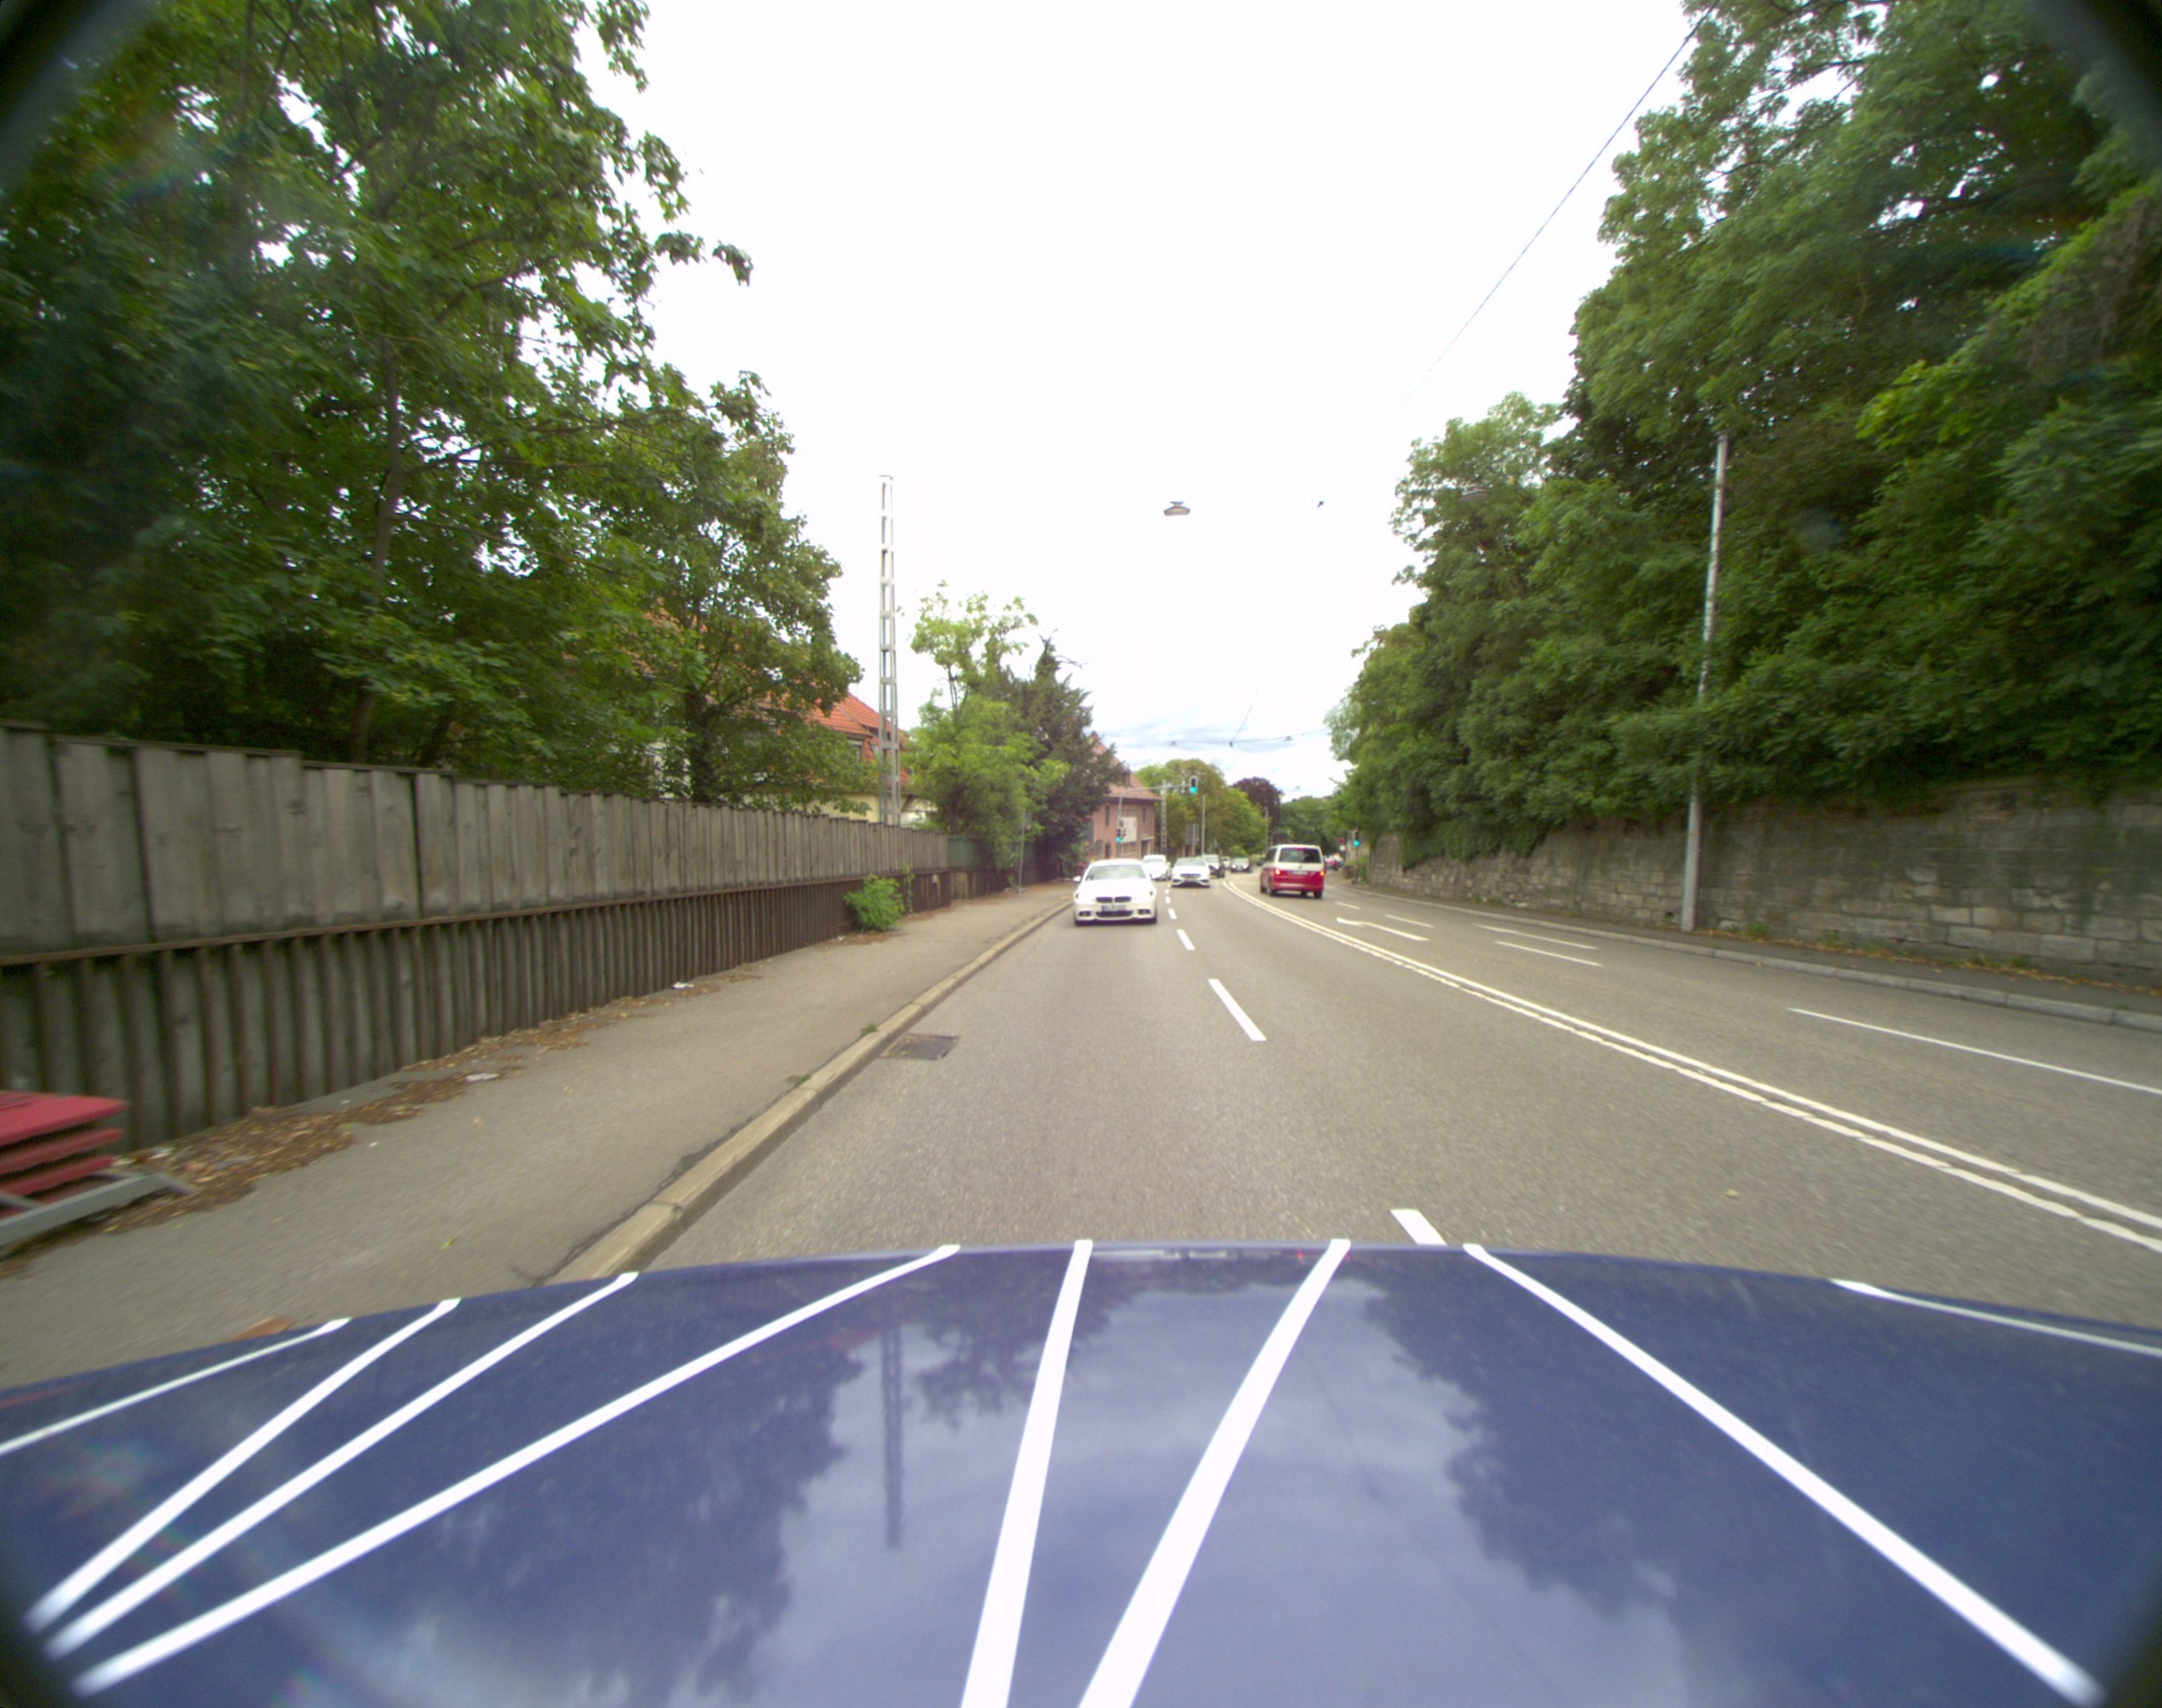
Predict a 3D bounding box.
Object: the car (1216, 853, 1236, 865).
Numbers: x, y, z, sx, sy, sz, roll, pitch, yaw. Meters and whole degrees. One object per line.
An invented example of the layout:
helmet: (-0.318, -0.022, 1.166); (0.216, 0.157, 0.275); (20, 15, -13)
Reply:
car: (18.303, 0.630, 95.515); (1.716, 1.463, 4.045); (3, 1, 21)

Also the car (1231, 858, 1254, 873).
car: (15.316, 1.085, 72.071); (1.832, 1.369, 4.005); (1, 1, 16)

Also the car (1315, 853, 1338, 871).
car: (26.597, 0.884, 82.177); (1.744, 1.835, 4.257); (1, 0, 26)

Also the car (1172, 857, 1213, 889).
car: (5.379, 0.879, 36.471); (1.801, 1.382, 3.530); (1, 0, 10)

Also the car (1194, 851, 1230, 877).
car: (9.130, 0.673, 52.752); (1.955, 1.730, 4.005); (1, 0, 16)

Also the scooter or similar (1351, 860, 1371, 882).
scooter or similar: (16.783, 1.037, 45.498); (1.100, 1.230, 0.433); (-3, 0, -30)

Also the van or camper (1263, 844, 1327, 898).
van or camper: (8.152, 0.593, 29.340); (1.893, 1.867, 4.768); (1, 1, 10)

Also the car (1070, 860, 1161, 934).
car: (0.837, 0.899, 17.815); (1.822, 1.462, 4.786); (0, 0, 3)

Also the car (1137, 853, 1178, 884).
car: (4.723, 0.862, 46.575); (1.956, 1.761, 4.004); (1, 0, 13)
